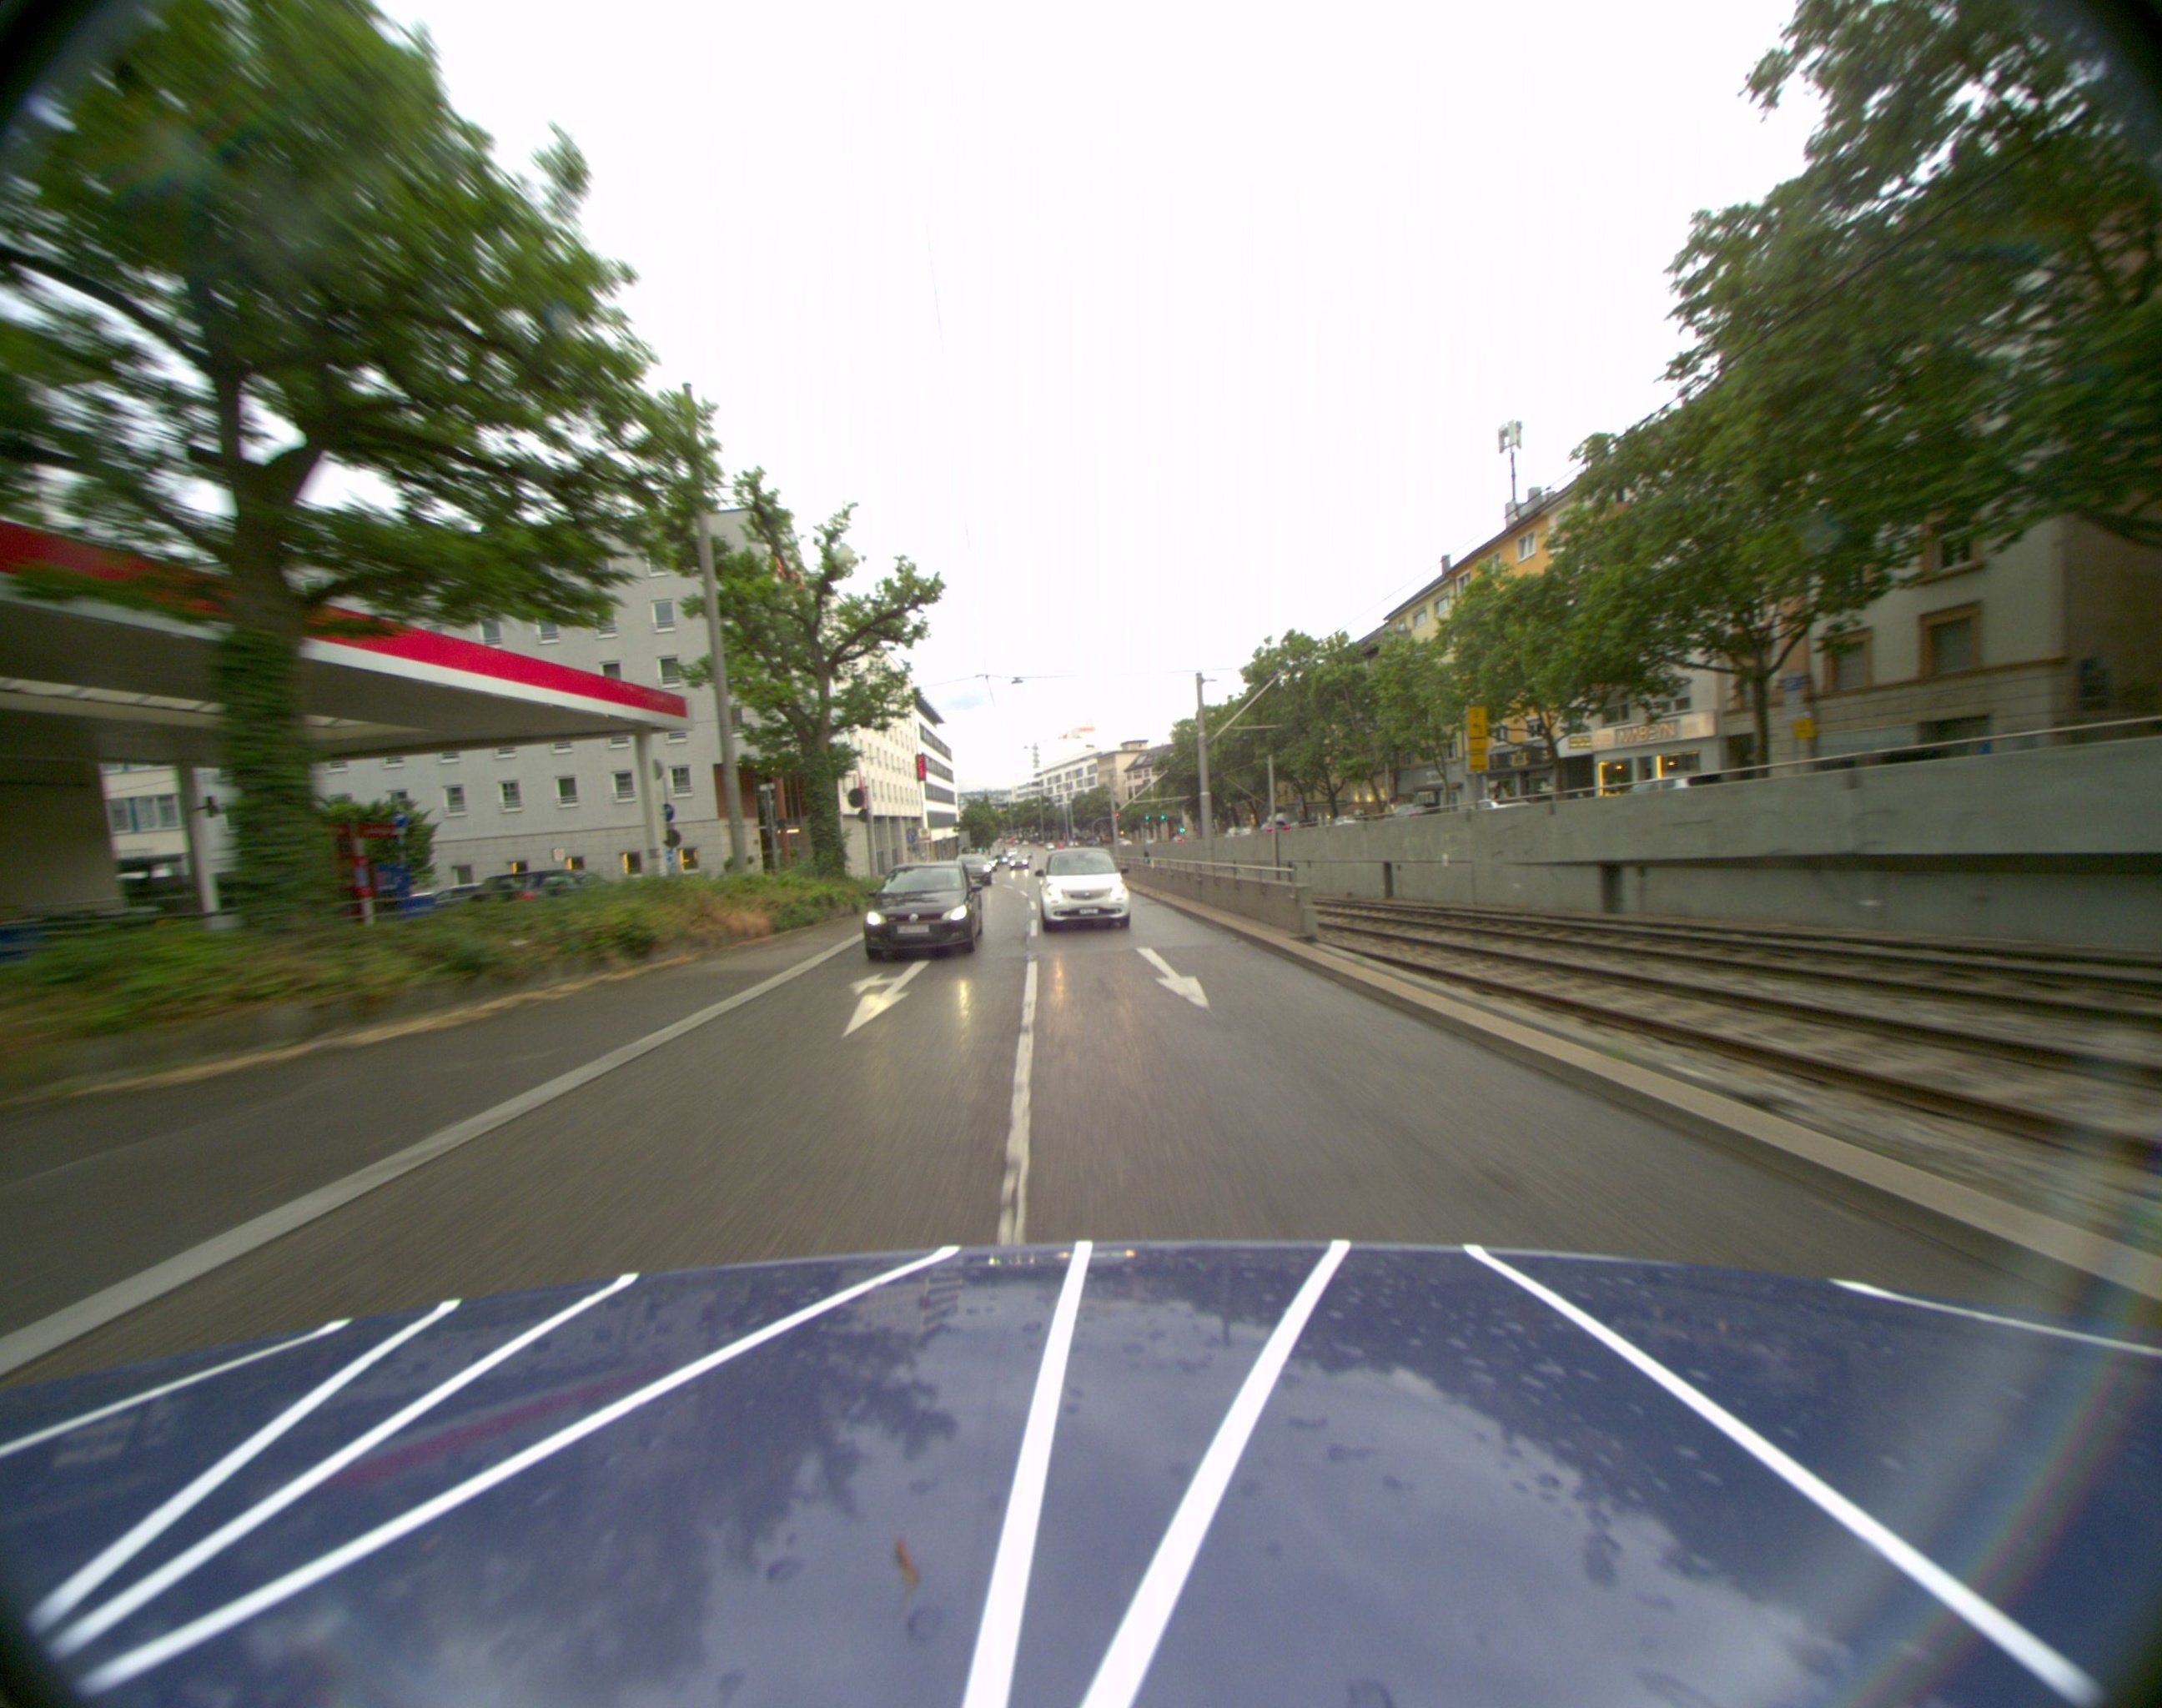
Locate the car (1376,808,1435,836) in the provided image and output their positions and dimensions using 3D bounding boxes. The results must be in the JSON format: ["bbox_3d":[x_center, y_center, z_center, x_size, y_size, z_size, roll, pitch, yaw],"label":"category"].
[{"bbox_3d":[20.620,-2.005,48.453,1.799,1.501,4.207,-6,1,-1],"label":"car"}]

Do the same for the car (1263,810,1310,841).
[{"bbox_3d":[20.685,-2.834,76.842,2.459,2.647,6.929,-6,1,-1],"label":"car"}]

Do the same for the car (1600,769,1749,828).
[{"bbox_3d":[20.644,-1.863,26.689,1.799,1.602,4.111,-6,1,-2],"label":"car"}]

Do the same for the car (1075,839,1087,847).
[{"bbox_3d":[0.046,-2.793,195.975,1.800,1.760,4.725,-6,2,-14],"label":"car"}]

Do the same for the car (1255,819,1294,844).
[{"bbox_3d":[16.916,-1.921,66.751,1.961,1.842,4.967,-6,1,-1],"label":"car"}]

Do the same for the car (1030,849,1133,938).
[{"bbox_3d":[-0.085,0.698,15.790,1.799,1.528,3.998,-3,1,-3],"label":"car"}]

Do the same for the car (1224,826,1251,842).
[{"bbox_3d":[20.294,-2.557,98.713,1.882,1.754,4.898,-6,1,-5],"label":"car"}]

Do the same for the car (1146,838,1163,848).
[{"bbox_3d":[12.946,-1.915,134.847,2.032,1.501,4.880,-6,1,-4],"label":"car"}]

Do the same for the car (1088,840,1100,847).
[{"bbox_3d":[3.318,-2.759,193.553,1.801,1.502,3.994,-7,2,-16],"label":"car"}]

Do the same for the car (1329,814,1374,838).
[{"bbox_3d":[20.980,-2.178,59.197,1.799,1.562,4.207,-6,1,-1],"label":"car"}]

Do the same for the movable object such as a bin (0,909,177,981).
[{"bbox_3d":[-25.186,2.262,19.344,1.165,1.417,2.508,-4,1,3],"label":"movable object such as a bin"}]

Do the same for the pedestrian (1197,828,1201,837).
[{"bbox_3d":[24.759,-4.511,159.646,0.590,1.799,0.674,-6,2,3],"label":"pedestrian"}]

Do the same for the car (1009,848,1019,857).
[{"bbox_3d":[-14.146,-0.334,160.466,1.799,1.502,3.997,-7,2,-6],"label":"car"}]

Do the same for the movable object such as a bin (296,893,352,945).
[{"bbox_3d":[-24.766,2.116,24.866,0.766,1.556,0.913,-4,1,3],"label":"movable object such as a bin"}]

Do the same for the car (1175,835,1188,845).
[{"bbox_3d":[18.577,-2.597,140.636,1.851,1.501,4.016,-6,1,1],"label":"car"}]

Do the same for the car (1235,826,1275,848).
[{"bbox_3d":[13.576,-1.311,59.460,1.799,1.501,3.998,-6,1,-3],"label":"car"}]

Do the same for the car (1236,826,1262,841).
[{"bbox_3d":[20.723,-2.460,93.616,1.882,1.574,4.471,-6,1,-3],"label":"car"}]

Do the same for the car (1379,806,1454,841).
[{"bbox_3d":[17.131,-1.520,39.025,1.799,1.501,4.107,-6,1,-1],"label":"car"}]

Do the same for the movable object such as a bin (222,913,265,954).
[{"bbox_3d":[-25.029,2.361,22.718,0.454,1.134,0.661,-4,1,3],"label":"movable object such as a bin"}]

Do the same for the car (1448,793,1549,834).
[{"bbox_3d":[20.739,-1.977,38.055,1.932,1.592,5.198,-6,1,-2],"label":"car"}]

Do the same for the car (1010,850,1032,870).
[{"bbox_3d":[-5.400,0.537,68.929,1.799,1.502,3.998,-7,2,-3],"label":"car"}]

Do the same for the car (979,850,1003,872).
[{"bbox_3d":[-8.340,0.634,70.581,1.799,1.657,3.998,-7,2,-3],"label":"car"}]

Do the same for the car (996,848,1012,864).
[{"bbox_3d":[-10.396,0.213,102.461,1.799,1.934,3.997,-7,2,-6],"label":"car"}]

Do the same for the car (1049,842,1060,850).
[{"bbox_3d":[-6.534,-1.988,189.026,1.801,1.733,3.994,-2,0,-15],"label":"car"}]

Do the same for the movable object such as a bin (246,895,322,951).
[{"bbox_3d":[-24.836,2.136,23.720,0.766,1.556,1.360,-4,1,3],"label":"movable object such as a bin"}]

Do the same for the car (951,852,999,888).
[{"bbox_3d":[-4.907,0.704,35.725,1.751,1.433,3.705,-3,2,-1],"label":"car"}]

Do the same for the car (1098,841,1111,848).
[{"bbox_3d":[5.364,-2.233,176.534,1.800,1.502,4.338,-6,2,-14],"label":"car"}]

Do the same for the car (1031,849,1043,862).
[{"bbox_3d":[-7.721,0.207,132.917,1.799,1.934,3.997,-7,2,-6],"label":"car"}]

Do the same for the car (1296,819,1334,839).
[{"bbox_3d":[21.312,-2.276,69.365,1.799,1.501,4.670,-6,1,-1],"label":"car"}]

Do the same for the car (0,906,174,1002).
[{"bbox_3d":[-20.707,2.035,14.452,1.798,1.502,4.000,-7,2,4],"label":"car"}]

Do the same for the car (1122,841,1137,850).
[{"bbox_3d":[10.023,-1.809,156.813,1.852,1.501,4.817,-7,1,-11],"label":"car"}]

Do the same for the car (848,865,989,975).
[{"bbox_3d":[-2.575,0.974,12.915,1.678,1.392,3.847,-3,1,-3],"label":"car"}]

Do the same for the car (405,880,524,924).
[{"bbox_3d":[-28.198,2.197,34.831,3.996,1.501,1.801,-6,0,5],"label":"car"}]

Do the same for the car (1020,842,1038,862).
[{"bbox_3d":[-5.823,-0.249,85.408,1.799,2.021,3.998,-7,2,-3],"label":"car"}]

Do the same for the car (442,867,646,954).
[{"bbox_3d":[-12.628,1.253,18.209,1.776,1.614,3.867,-3,1,6],"label":"car"}]
